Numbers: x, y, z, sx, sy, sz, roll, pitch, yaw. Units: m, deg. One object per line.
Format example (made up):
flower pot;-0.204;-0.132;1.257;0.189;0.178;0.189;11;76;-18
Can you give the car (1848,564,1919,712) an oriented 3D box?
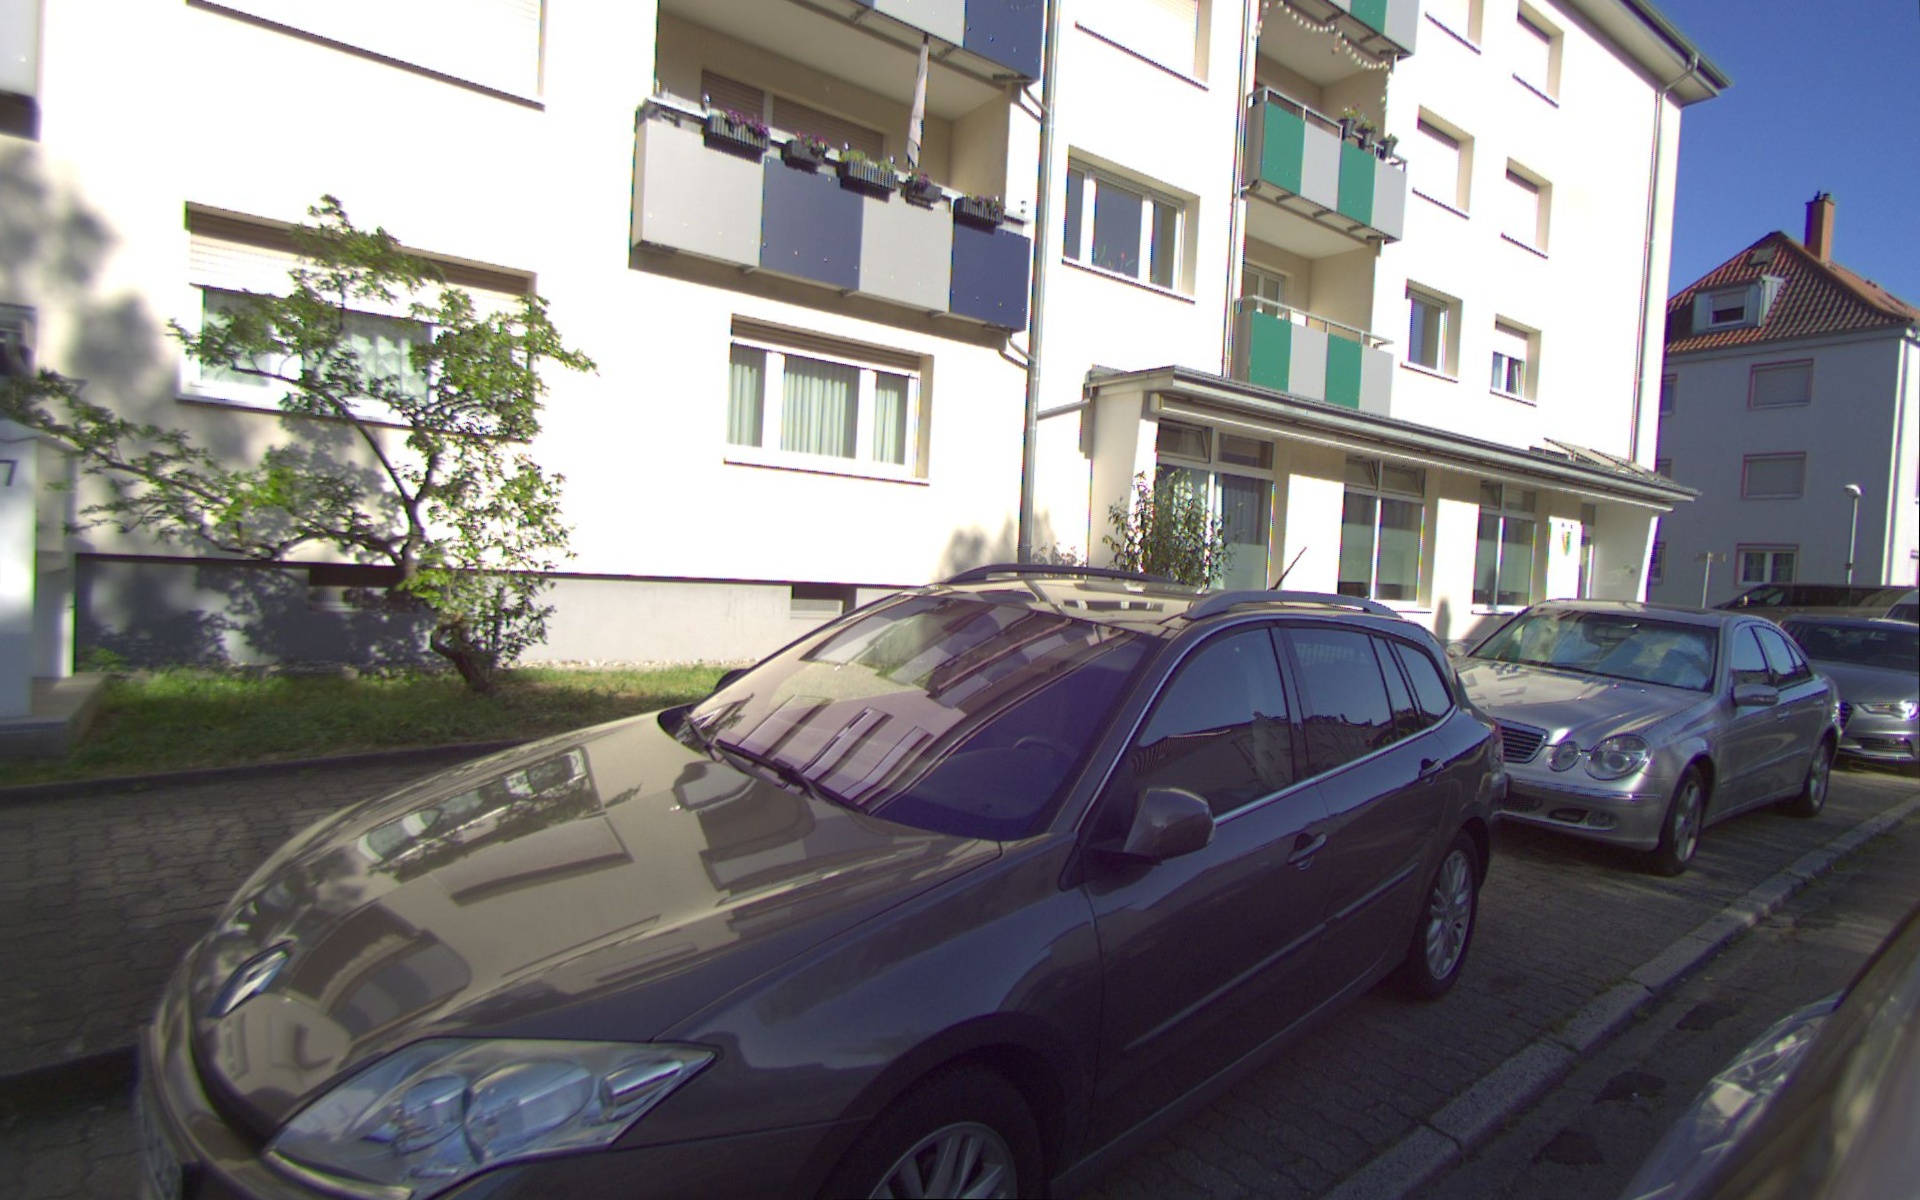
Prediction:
car;14.076;0.585;13.968;4.053;1.845;1.754;2;5;-36

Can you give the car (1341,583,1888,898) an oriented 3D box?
car;4.732;0.707;7.009;4.636;1.465;1.683;1;2;-38

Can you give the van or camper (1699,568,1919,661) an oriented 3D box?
van or camper;23.240;0.369;27.061;1.961;2.038;5.145;4;2;-35

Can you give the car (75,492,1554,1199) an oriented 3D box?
car;0.324;0.589;3.238;1.694;1.449;4.614;4;2;43

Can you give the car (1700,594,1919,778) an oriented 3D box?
car;9.660;0.791;10.763;4.463;1.423;1.684;1;5;-39
